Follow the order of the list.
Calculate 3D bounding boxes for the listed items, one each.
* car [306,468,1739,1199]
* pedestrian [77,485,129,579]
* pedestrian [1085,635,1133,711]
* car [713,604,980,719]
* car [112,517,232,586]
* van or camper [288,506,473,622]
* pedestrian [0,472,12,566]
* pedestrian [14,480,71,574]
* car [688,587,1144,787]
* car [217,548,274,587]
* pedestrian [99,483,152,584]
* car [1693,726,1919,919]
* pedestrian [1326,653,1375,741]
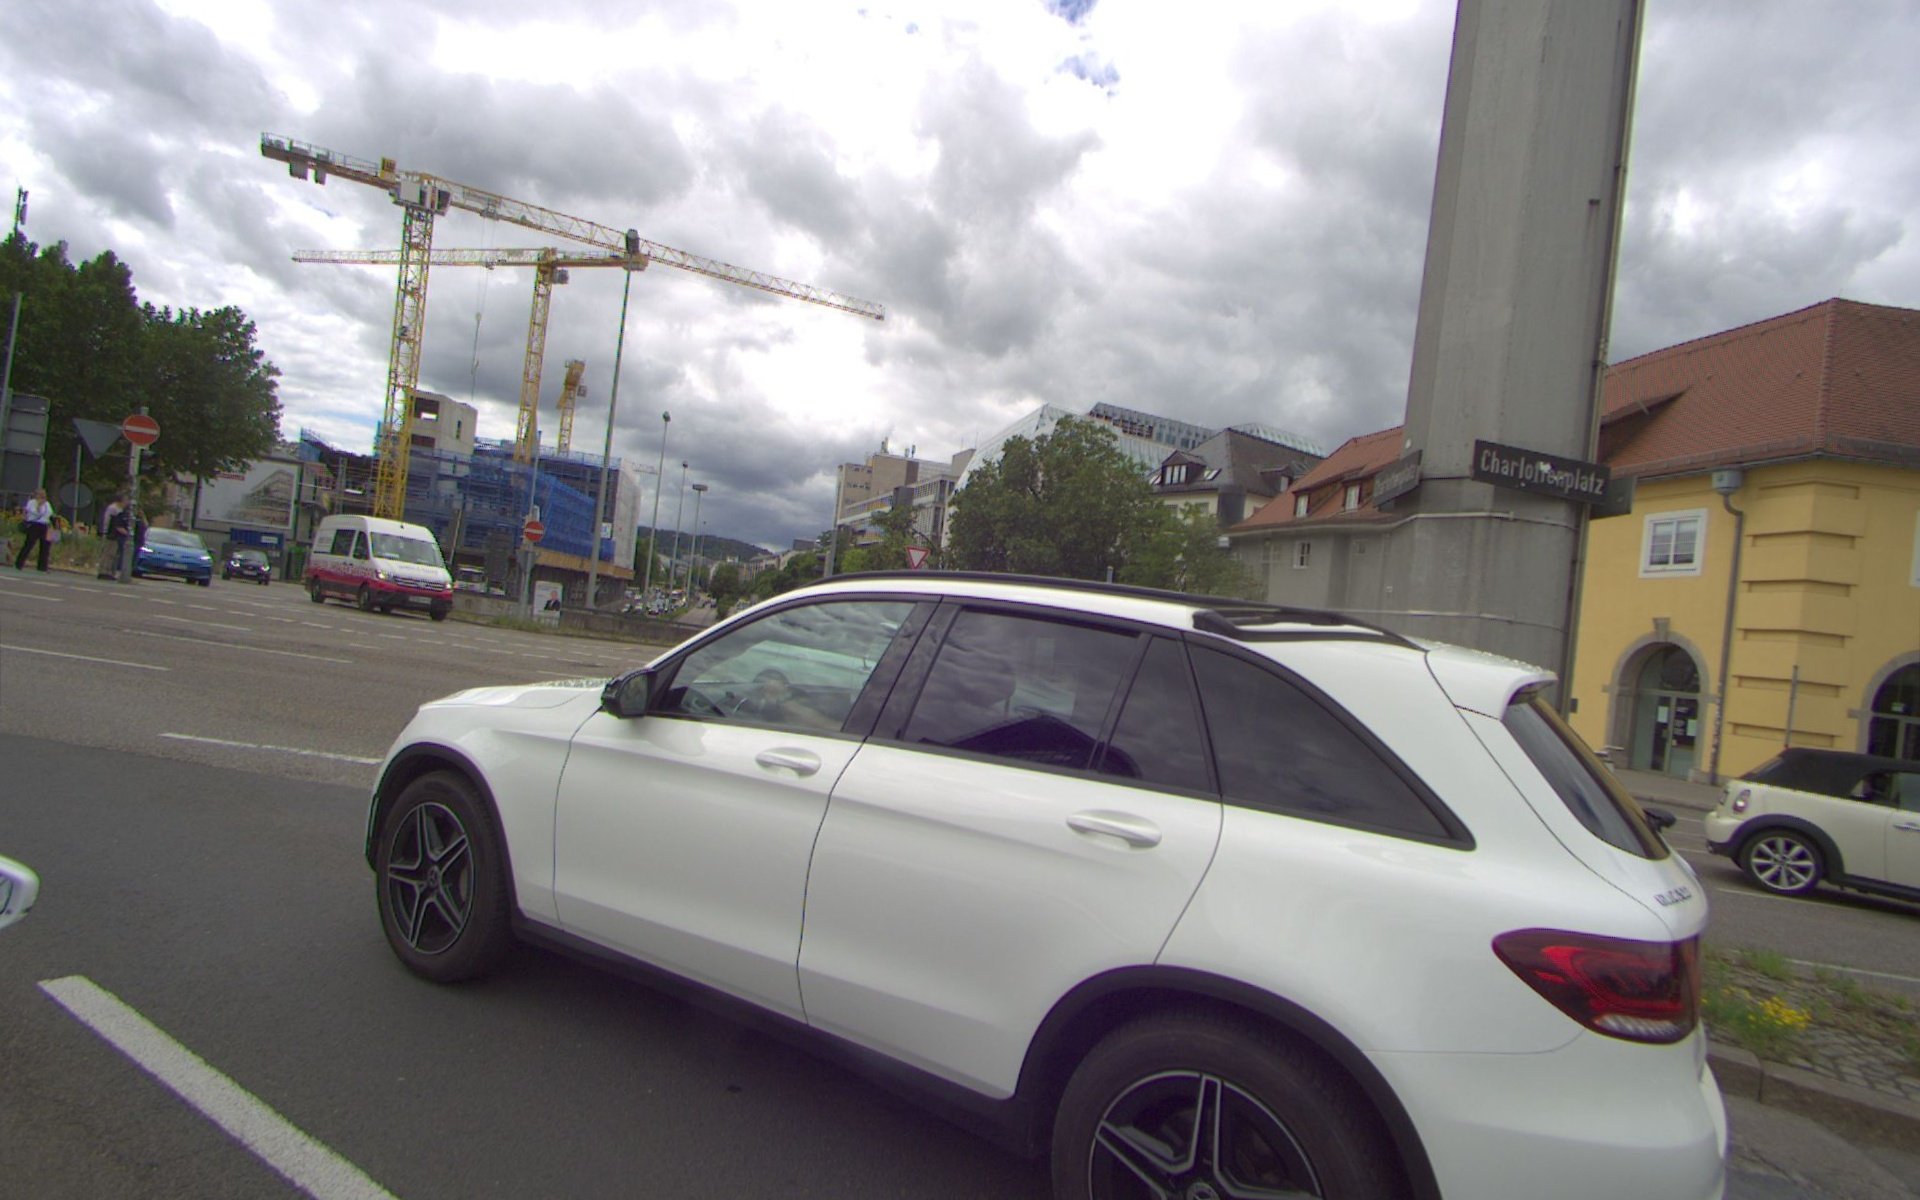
[{"bbox_3d":[-0.196,0.627,3.485,4.263,1.666,1.804,8,0,33],"label":"car"},{"bbox_3d":[-18.558,-1.462,21.785,0.639,1.932,0.603,8,-1,-44],"label":"pedestrian"},{"bbox_3d":[3.770,1.832,25.426,0.740,1.810,0.826,7,-1,-14],"label":"pedestrian"},{"bbox_3d":[-2.008,1.034,17.314,4.342,1.348,1.756,6,-3,34],"label":"car"},{"bbox_3d":[-23.245,-1.451,29.614,4.564,1.500,1.940,7,-1,42],"label":"car"},{"bbox_3d":[-15.893,-1.057,27.409,6.072,2.505,2.140,6,-2,39],"label":"van or camper"},{"bbox_3d":[-20.939,-1.784,21.620,0.639,1.988,0.603,8,-1,-44],"label":"pedestrian"},{"bbox_3d":[-18.789,-1.488,20.608,0.640,1.817,0.603,10,-3,-44],"label":"pedestrian"},{"bbox_3d":[-0.634,0.898,11.677,4.960,1.521,1.996,6,-2,34],"label":"car"},{"bbox_3d":[-33.525,-1.532,47.180,1.824,1.483,3.958,8,-2,-39],"label":"car"},{"bbox_3d":[-17.306,-1.377,20.859,0.638,1.978,0.604,8,-1,-41],"label":"pedestrian"},{"bbox_3d":[9.220,2.215,9.430,3.589,1.435,1.726,7,-1,35],"label":"car"},{"bbox_3d":[9.016,2.244,23.248,0.553,1.918,0.633,7,0,-32],"label":"pedestrian"}]
